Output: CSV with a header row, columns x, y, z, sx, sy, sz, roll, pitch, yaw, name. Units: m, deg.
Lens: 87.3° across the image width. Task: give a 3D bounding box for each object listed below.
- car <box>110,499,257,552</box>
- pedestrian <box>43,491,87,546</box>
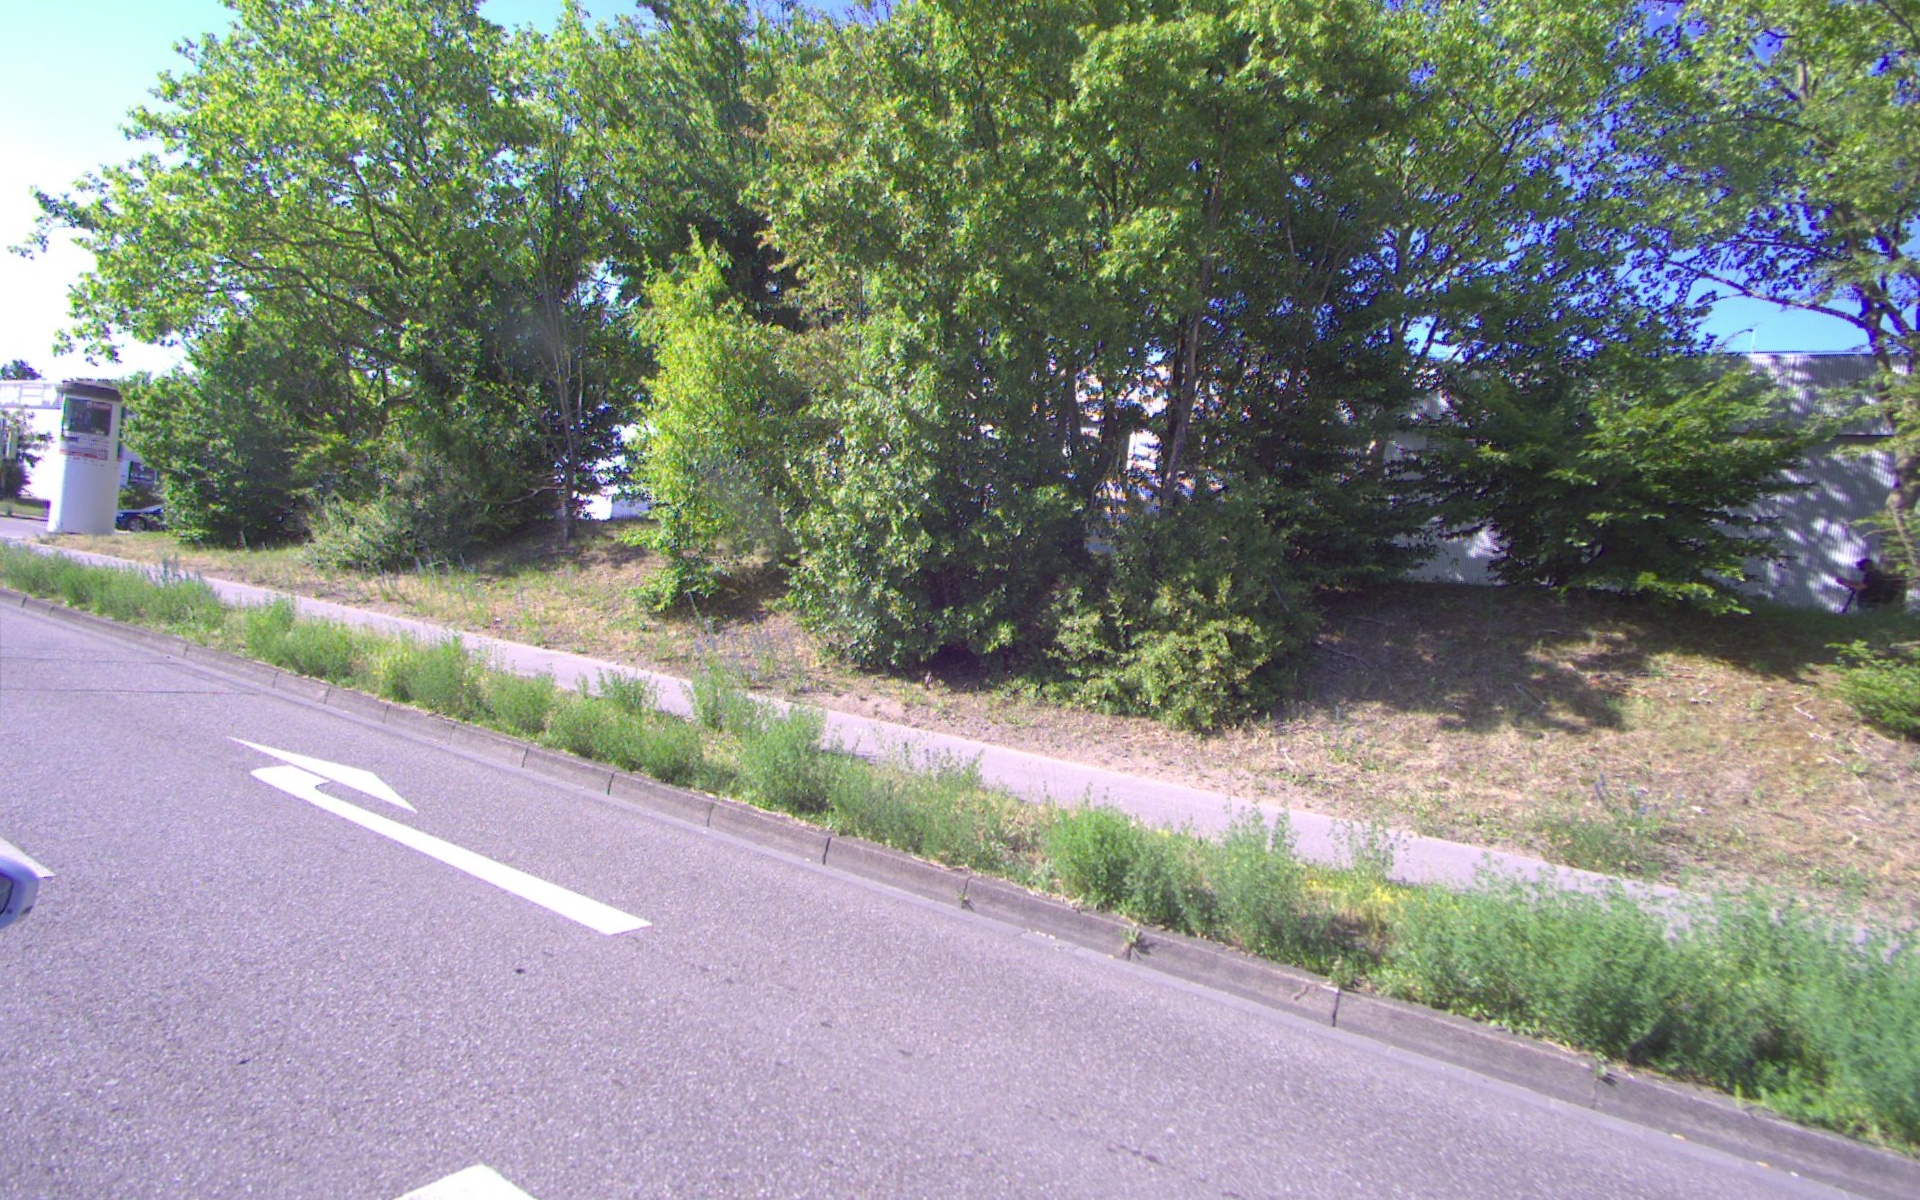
x,y,z,sx,sy,sz,roll,pitch,yaw,name
-34.834,-3.315,45.279,1.729,1.484,4.830,7,-2,30,car
-29.864,-2.715,33.582,0.506,1.688,0.818,7,-1,32,pedestrian
